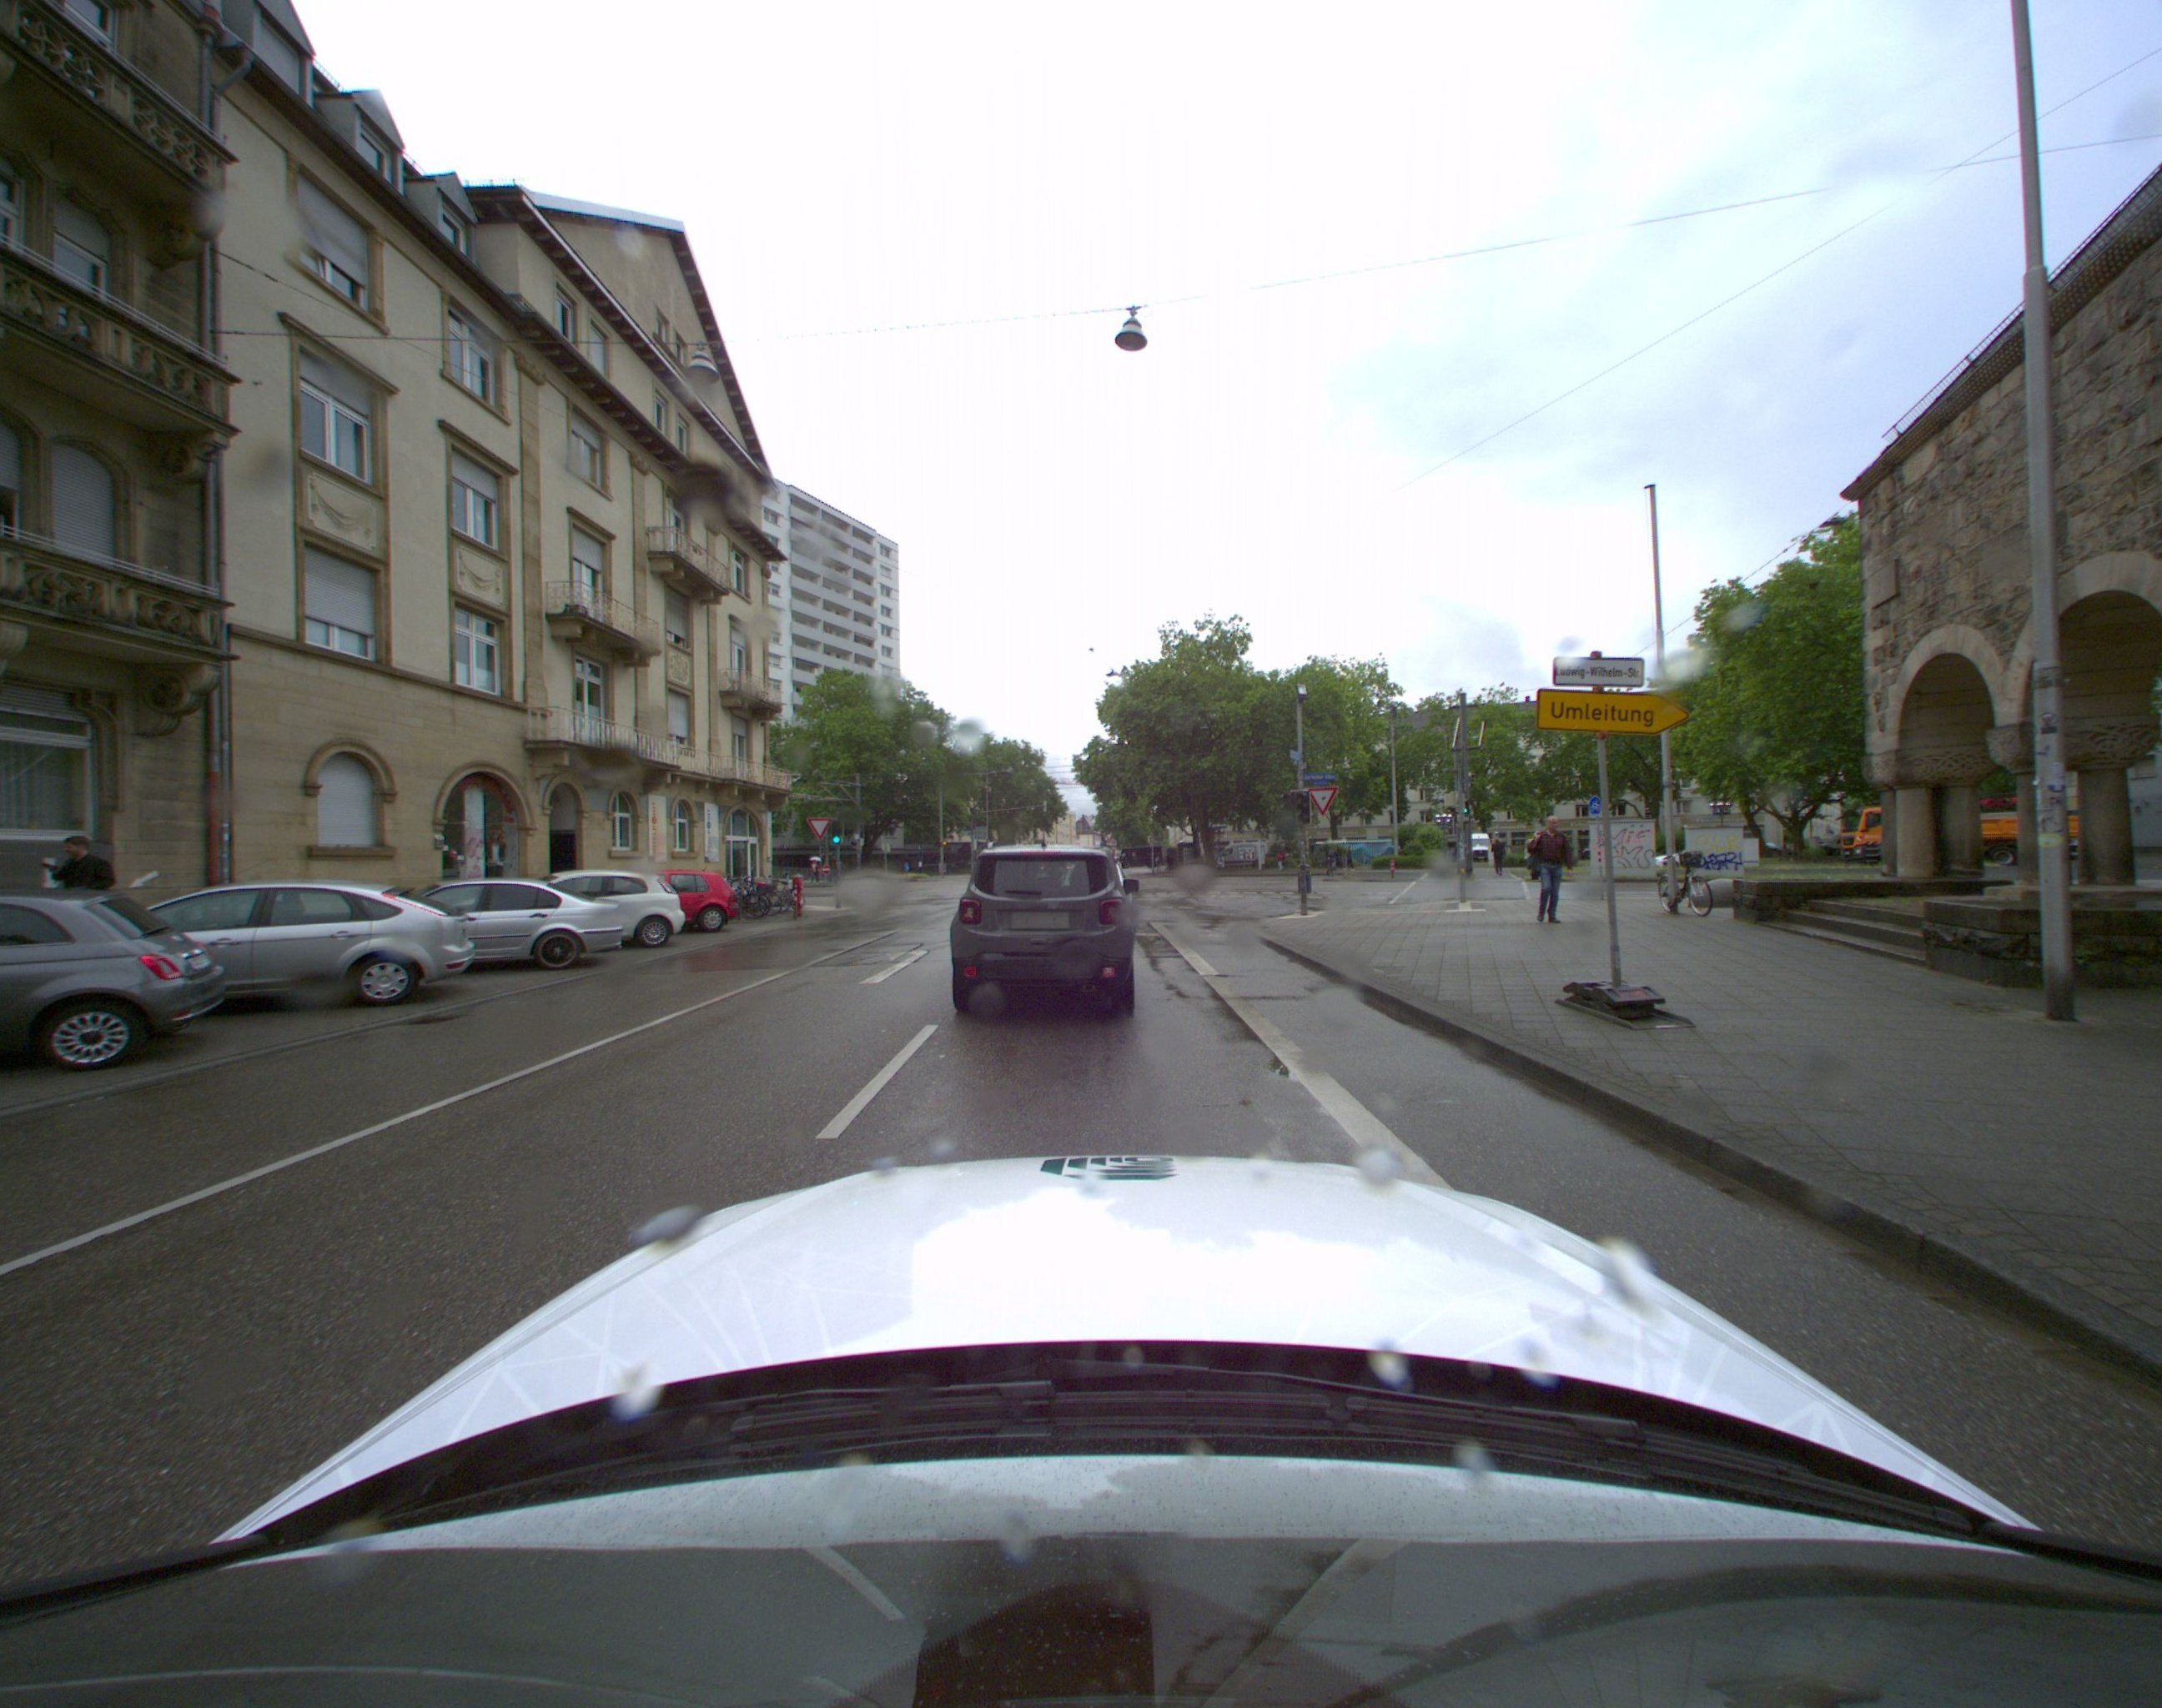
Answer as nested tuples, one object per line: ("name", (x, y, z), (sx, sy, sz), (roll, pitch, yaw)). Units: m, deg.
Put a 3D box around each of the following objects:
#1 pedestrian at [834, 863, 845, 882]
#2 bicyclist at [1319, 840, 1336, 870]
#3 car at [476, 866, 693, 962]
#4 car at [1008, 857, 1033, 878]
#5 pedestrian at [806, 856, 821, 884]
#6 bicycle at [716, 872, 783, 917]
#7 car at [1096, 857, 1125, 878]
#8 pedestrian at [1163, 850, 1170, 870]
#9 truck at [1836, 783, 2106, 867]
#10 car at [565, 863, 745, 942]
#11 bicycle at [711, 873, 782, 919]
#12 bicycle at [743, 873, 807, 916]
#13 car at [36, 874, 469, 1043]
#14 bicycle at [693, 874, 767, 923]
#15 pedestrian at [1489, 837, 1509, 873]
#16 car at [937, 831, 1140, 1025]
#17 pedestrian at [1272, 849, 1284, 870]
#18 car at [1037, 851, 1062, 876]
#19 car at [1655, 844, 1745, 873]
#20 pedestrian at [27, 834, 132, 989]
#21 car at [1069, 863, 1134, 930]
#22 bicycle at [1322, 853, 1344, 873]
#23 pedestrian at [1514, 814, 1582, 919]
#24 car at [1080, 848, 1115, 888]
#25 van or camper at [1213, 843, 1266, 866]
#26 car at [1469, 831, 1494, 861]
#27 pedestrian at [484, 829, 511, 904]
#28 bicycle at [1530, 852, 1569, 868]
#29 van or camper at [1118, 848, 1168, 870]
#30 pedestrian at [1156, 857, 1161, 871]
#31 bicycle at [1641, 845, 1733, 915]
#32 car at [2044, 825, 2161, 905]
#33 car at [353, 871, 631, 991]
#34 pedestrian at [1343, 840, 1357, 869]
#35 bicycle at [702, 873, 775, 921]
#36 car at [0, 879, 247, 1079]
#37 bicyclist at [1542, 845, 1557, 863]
("pedestrian", (-19.912, 1.544, 67.126), (0.438, 1.530, 0.647), (-2, -1, 28))
("bicyclist", (13.965, 0.058, 46.073), (0.680, 1.617, 0.889), (-3, -1, 27))
("car", (-9.579, 1.066, 15.791), (3.419, 1.558, 1.686), (-1, 0, -37))
("car", (-4.899, 1.092, 66.557), (1.809, 1.670, 3.917), (-2, 0, -2))
("pedestrian", (-18.027, 1.084, 54.812), (0.614, 1.826, 0.697), (-2, -1, 15))
("bicycle", (-10.080, 1.222, 24.810), (1.757, 1.266, 0.608), (-2, -1, 0))
("car", (1.877, 0.855, 52.564), (1.588, 1.252, 3.572), (-2, 0, -2))
("pedestrian", (8.676, 0.604, 82.695), (0.646, 2.014, 0.484), (-2, -1, 14))
("truck", (42.046, -1.264, 38.907), (8.333, 3.524, 2.391), (-2, -1, 25))
("car", (-9.756, 1.054, 18.739), (3.419, 1.558, 1.686), (-1, 0, -37))
("bicycle", (-9.730, 1.220, 23.701), (1.804, 1.266, 0.498), (-2, -1, 0))
("bicycle", (-9.644, 1.256, 25.678), (1.757, 1.266, 0.608), (-2, -1, 0))
("car", (-9.555, 1.085, 9.836), (3.419, 1.558, 1.686), (-1, 0, -37))
("bicycle", (-9.701, 1.214, 22.539), (1.757, 1.266, 0.522), (-2, -1, 0))
("pedestrian", (19.788, 0.057, 38.570), (0.775, 1.645, 0.659), (-3, -1, 26))
("car", (-0.345, 0.677, 9.316), (1.768, 1.687, 3.849), (-3, 0, 1))
("pedestrian", (14.576, 0.426, 60.211), (0.667, 1.554, 0.766), (-2, -2, 30))
("car", (-2.282, 0.687, 59.141), (1.717, 1.739, 3.727), (-2, 0, -2))
("car", (32.944, 0.235, 43.458), (3.528, 1.387, 1.638), (-2, 0, 24))
("pedestrian", (-13.477, 0.755, 10.978), (0.565, 2.014, 0.655), (-2, -1, 2))
("car", (0.502, 0.935, 19.285), (1.358, 1.376, 3.313), (-2, 0, 2))
("bicycle", (14.295, 0.514, 46.108), (0.685, 1.021, 2.674), (-3, 0, 27))
("pedestrian", (8.204, 0.213, 14.350), (0.779, 1.759, 0.949), (-2, -1, 17))
("car", (0.923, 0.719, 43.904), (1.763, 2.013, 4.002), (-2, 0, 2))
("van or camper", (16.429, 0.037, 84.548), (5.233, 2.315, 2.093), (-1, 0, 5))
("car", (35.869, -0.706, 72.966), (1.889, 2.555, 4.815), (-2, 0, 26))
("pedestrian", (-14.536, 0.307, 20.282), (0.365, 1.823, 0.347), (-2, -1, 0))
("bicycle", (28.195, 0.362, 49.045), (1.948, 0.911, 0.563), (-2, -1, 25))
("van or camper", (8.731, 0.749, 114.603), (6.465, 2.912, 2.510), (-2, -1, 28))
("pedestrian", (9.071, 1.171, 95.553), (0.456, 1.704, 0.424), (-2, -1, 2))
("bicycle", (10.842, 0.435, 14.647), (0.327, 1.154, 2.079), (-2, 0, 7))
("car", (21.286, 0.166, 16.271), (1.389, 1.479, 3.240), (-2, 0, 26))
("car", (-9.313, 1.116, 13.098), (3.419, 1.558, 1.686), (-1, 0, -37))
("pedestrian", (19.142, 0.055, 57.983), (0.798, 2.014, 0.593), (-2, -1, 29))
("bicycle", (-9.699, 1.208, 23.087), (1.804, 1.266, 0.498), (-2, -1, 0))
("car", (-9.655, 1.057, 6.870), (3.419, 1.558, 1.634), (-1, 0, -37))
("bicyclist", (28.209, -0.012, 49.031), (0.673, 1.026, 0.563), (-2, -1, 26))
